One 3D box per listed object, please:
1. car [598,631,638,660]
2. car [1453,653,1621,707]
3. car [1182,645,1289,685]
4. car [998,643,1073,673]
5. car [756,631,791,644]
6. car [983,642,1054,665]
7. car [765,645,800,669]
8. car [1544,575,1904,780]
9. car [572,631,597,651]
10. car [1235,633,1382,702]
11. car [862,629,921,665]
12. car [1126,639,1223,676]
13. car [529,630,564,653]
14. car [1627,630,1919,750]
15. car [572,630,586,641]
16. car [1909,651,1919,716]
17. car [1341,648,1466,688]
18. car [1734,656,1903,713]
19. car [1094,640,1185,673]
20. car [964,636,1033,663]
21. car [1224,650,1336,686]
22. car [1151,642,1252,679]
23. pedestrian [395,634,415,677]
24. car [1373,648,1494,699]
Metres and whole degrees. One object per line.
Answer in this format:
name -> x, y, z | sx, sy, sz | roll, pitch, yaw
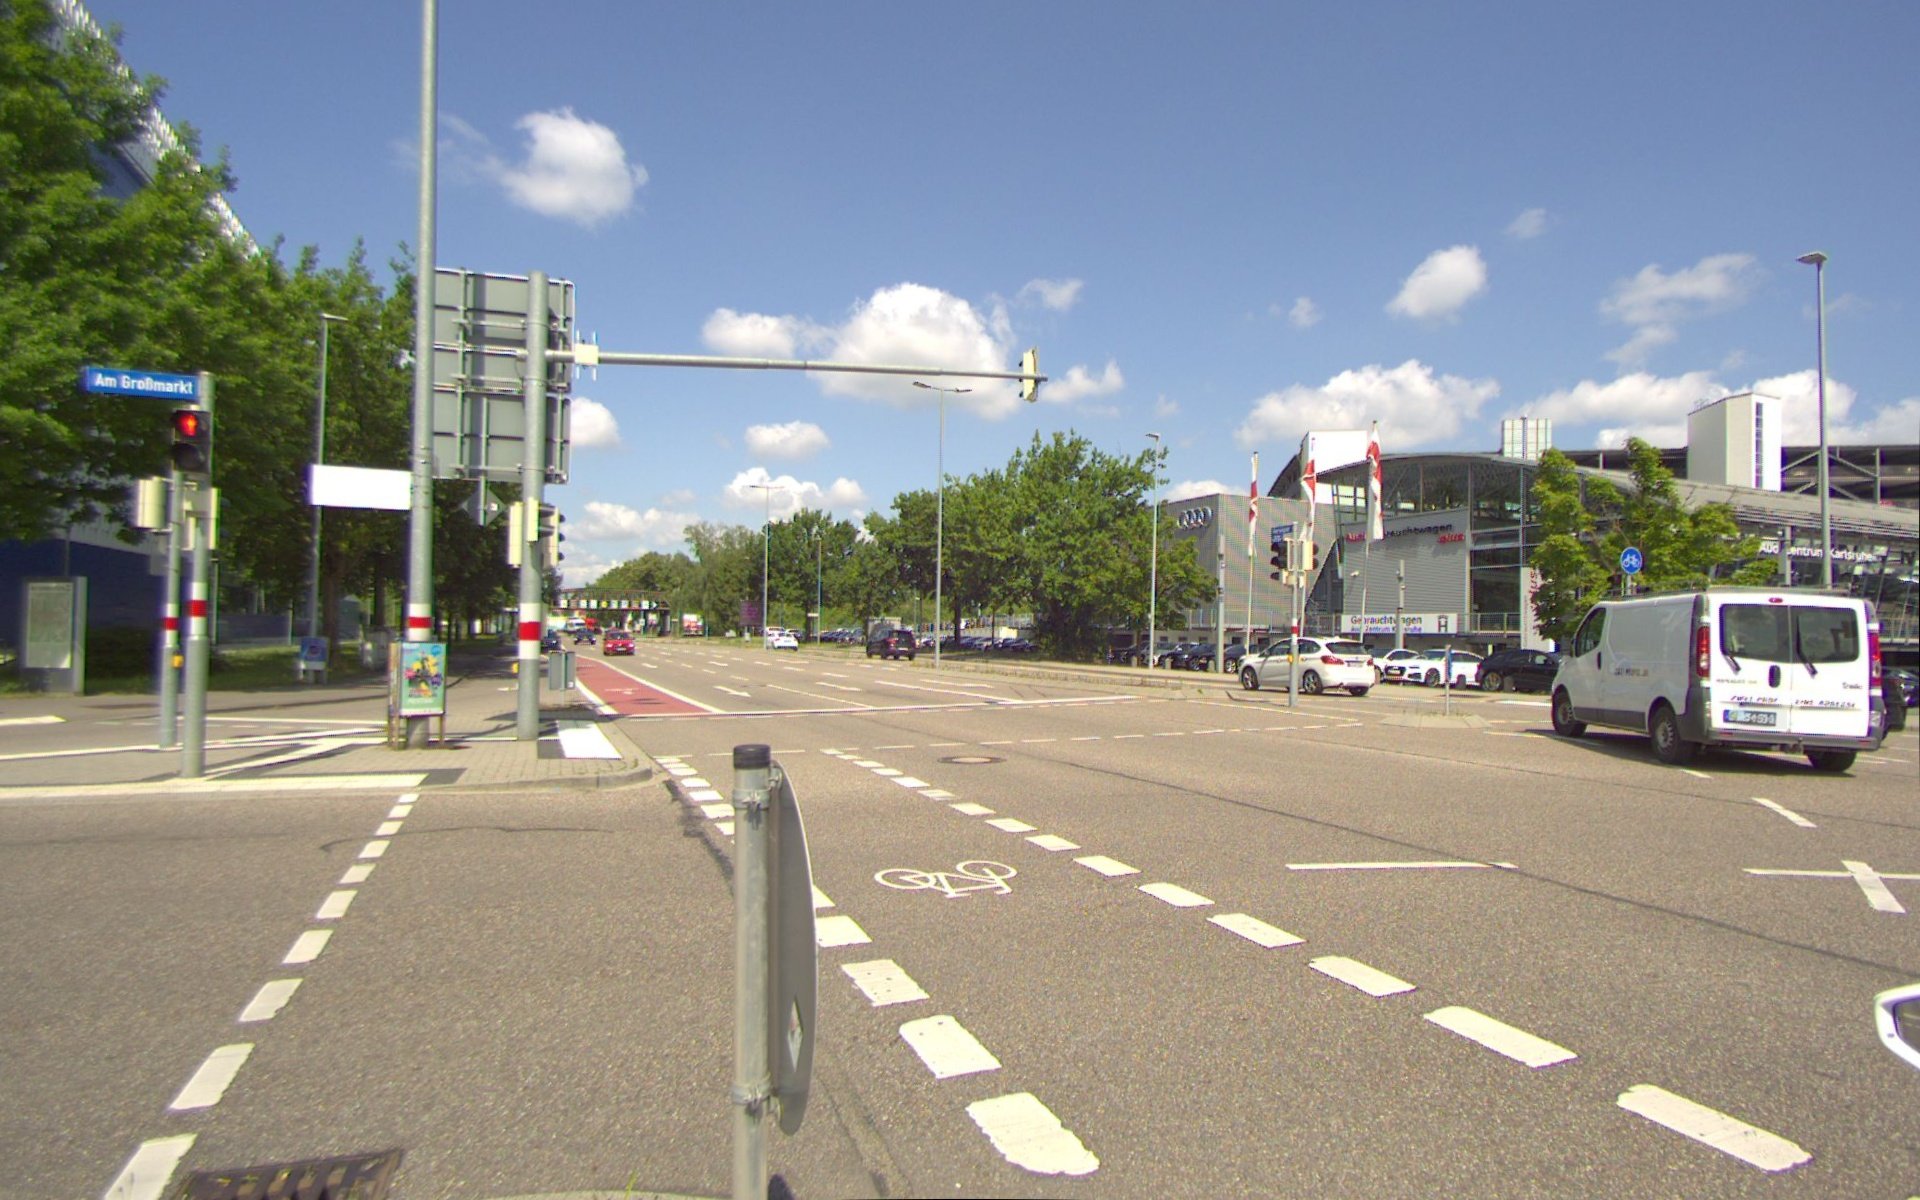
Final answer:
car -> -21.318, 2.829, 62.533 | 1.824, 1.622, 4.536 | 3, -2, -25
car -> 19.176, 2.628, 33.647 | 1.772, 1.482, 4.729 | 6, -4, -23
car -> 12.724, 2.998, 46.359 | 4.528, 1.314, 1.896 | 7, -3, -24
car -> 4.950, 3.833, 66.204 | 4.526, 1.700, 1.896 | 3, -1, -24
car -> -25.641, 5.195, 137.938 | 4.311, 1.532, 1.924 | 4, -1, -25
car -> 4.020, 3.706, 69.423 | 4.526, 1.518, 1.896 | 2, -3, -24
car -> -12.752, 4.059, 72.004 | 1.832, 1.461, 3.983 | 3, -1, -19
car -> 9.377, 0.879, 12.902 | 1.939, 2.087, 4.568 | 2, -2, 13
car -> -36.435, 3.962, 97.377 | 1.907, 1.778, 4.793 | 0, -1, -24
car -> 9.698, 1.849, 28.263 | 1.751, 1.639, 3.982 | 3, -1, -20
car -> -3.709, 2.475, 53.590 | 1.752, 1.639, 4.244 | 3, -1, -23
car -> 10.969, 2.953, 51.363 | 4.528, 1.423, 1.896 | 6, -2, -24
car -> -30.389, 3.045, 73.901 | 1.866, 1.575, 4.571 | 2, -2, -17
car -> 13.019, 1.347, 16.401 | 1.744, 1.651, 4.002 | 2, -1, 3
car -> -62.553, 5.835, 164.916 | 1.908, 1.778, 4.793 | 3, -3, -24
car -> 26.901, 2.132, 24.888 | 1.879, 1.699, 4.568 | 3, -5, -21
car -> 17.371, 2.680, 39.346 | 4.526, 1.314, 1.896 | 4, -1, -24
car -> 32.751, 3.194, 38.478 | 1.973, 1.763, 4.524 | 3, -1, -25
car -> 9.697, 3.040, 54.167 | 4.527, 1.423, 1.896 | 5, -2, -24
car -> 2.746, 3.559, 71.896 | 4.526, 1.700, 1.896 | 3, -1, -24
car -> 13.954, 2.965, 43.746 | 4.526, 1.314, 1.896 | 4, -1, -24
car -> 11.699, 2.927, 48.651 | 4.527, 1.401, 1.896 | 5, -2, -24
pedestrian -> -20.661, 2.052, 37.406 | 0.497, 1.575, 0.756 | 2, -2, -23
car -> 17.104, 2.645, 36.265 | 3.946, 1.482, 1.786 | 6, -4, -24
